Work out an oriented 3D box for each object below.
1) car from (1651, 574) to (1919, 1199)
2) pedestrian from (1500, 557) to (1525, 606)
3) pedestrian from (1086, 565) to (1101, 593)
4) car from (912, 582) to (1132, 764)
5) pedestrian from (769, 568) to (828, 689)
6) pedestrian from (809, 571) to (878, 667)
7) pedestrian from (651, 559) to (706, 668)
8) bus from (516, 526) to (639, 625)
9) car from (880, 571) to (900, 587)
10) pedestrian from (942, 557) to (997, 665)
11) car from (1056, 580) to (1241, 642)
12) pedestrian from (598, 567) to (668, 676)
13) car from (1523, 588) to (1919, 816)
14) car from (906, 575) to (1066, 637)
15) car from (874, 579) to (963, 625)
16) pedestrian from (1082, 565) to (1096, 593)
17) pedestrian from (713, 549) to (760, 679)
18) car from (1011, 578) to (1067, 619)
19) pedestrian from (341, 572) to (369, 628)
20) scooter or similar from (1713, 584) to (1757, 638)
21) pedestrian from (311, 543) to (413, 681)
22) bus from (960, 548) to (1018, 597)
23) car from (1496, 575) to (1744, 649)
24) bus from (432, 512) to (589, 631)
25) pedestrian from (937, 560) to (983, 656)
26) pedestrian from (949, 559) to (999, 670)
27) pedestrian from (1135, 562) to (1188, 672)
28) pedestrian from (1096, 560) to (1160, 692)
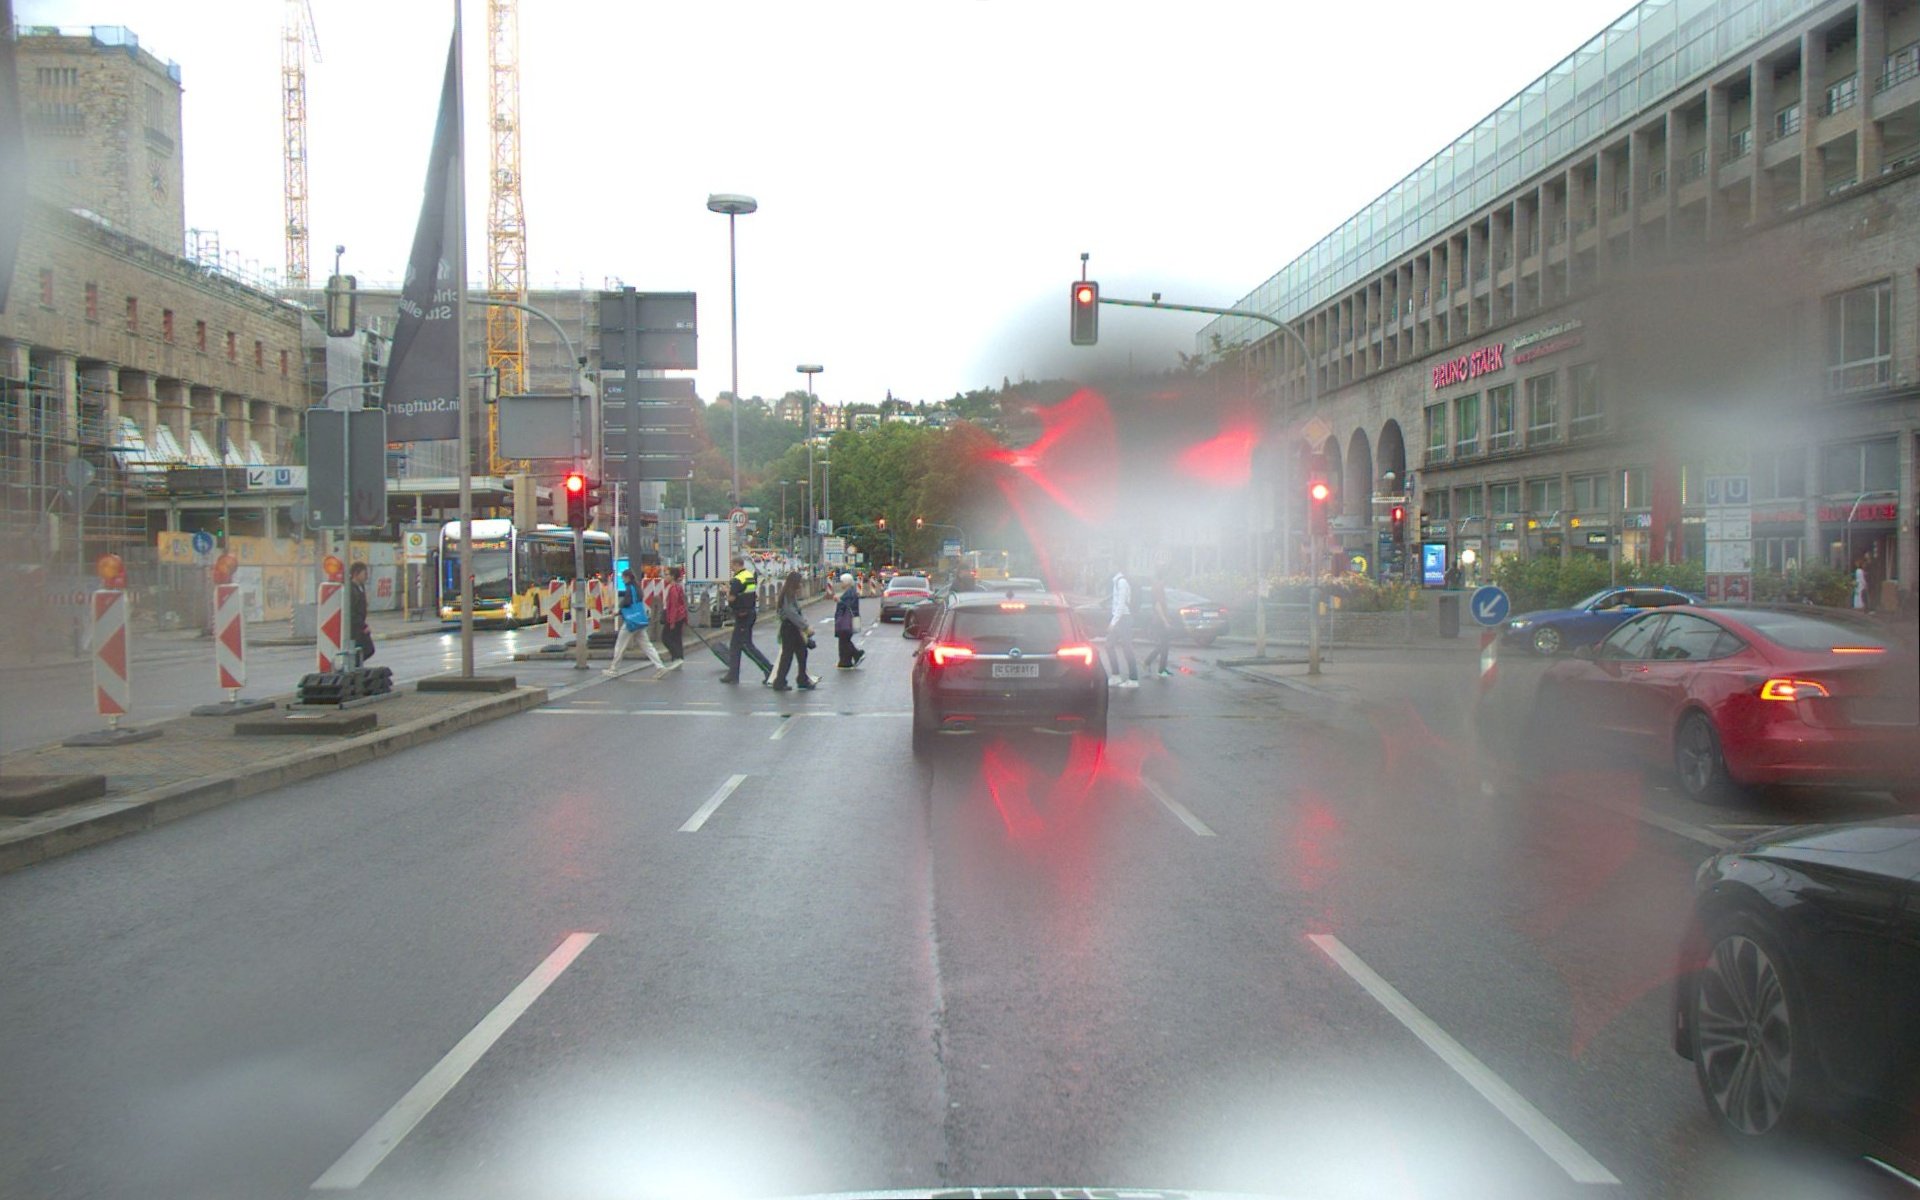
[{"bbox_3d":[3.057,0.722,2.824,1.757,1.528,4.628,1,0,-1],"label":"car"},{"bbox_3d":[23.569,-0.781,70.582,0.747,2.049,0.825,1,0,-1],"label":"pedestrian"},{"bbox_3d":[8.290,-1.297,102.843,0.748,1.720,0.824,1,0,-5],"label":"pedestrian"},{"bbox_3d":[0.488,0.610,15.975,1.836,1.512,3.999,1,0,-1],"label":"car"},{"bbox_3d":[-2.254,0.392,23.166,0.778,1.654,0.899,1,0,-4],"label":"pedestrian"},{"bbox_3d":[-1.964,0.310,27.949,0.771,1.588,0.872,1,0,35],"label":"pedestrian"},{"bbox_3d":[-4.614,0.217,27.173,0.783,1.747,0.619,-2,0,-4],"label":"pedestrian"},{"bbox_3d":[-15.229,-0.919,66.713,2.614,3.665,10.210,1,0,-1],"label":"bus"},{"bbox_3d":[-6.626,-1.989,157.135,1.723,1.422,3.563,1,0,-1],"label":"car"},{"bbox_3d":[0.143,0.172,25.525,0.783,1.636,0.619,1,0,-4],"label":"pedestrian"},{"bbox_3d":[4.545,0.240,40.275,4.328,1.422,1.746,1,0,45],"label":"car"},{"bbox_3d":[-4.882,0.310,24.767,0.897,1.591,0.899,1,0,-4],"label":"pedestrian"},{"bbox_3d":[6.269,0.682,13.338,1.836,1.512,4.525,1,0,-1],"label":"car"},{"bbox_3d":[0.565,0.132,40.210,1.737,1.422,4.487,1,0,-32],"label":"car"},{"bbox_3d":[-1.306,0.067,54.090,1.716,1.422,4.541,1,0,15],"label":"car"},{"bbox_3d":[8.094,-1.336,103.903,0.748,1.720,0.824,1,0,-5],"label":"pedestrian"},{"bbox_3d":[-3.267,0.203,24.224,0.566,1.868,0.820,1,0,-1],"label":"pedestrian"},{"bbox_3d":[2.829,-0.073,60.154,1.808,1.422,3.563,1,0,-1],"label":"car"},{"bbox_3d":[-20.820,-0.007,56.919,0.648,1.887,0.798,0,0,-1],"label":"pedestrian"},{"bbox_3d":[17.852,0.246,38.086,0.285,1.210,1.014,1,0,-19],"label":"scooter or similar"},{"bbox_3d":[-8.018,0.156,22.207,1.074,1.782,0.653,-2,0,-3],"label":"pedestrian"},{"bbox_3d":[2.111,-2.074,129.250,4.088,3.529,14.652,1,0,-1],"label":"bus"},{"bbox_3d":[13.618,0.240,34.391,4.534,1.422,1.760,1,0,12],"label":"car"},{"bbox_3d":[-15.115,-0.891,56.529,2.614,3.665,10.238,1,0,-1],"label":"bus"},{"bbox_3d":[0.000,0.125,26.050,0.665,1.500,0.366,1,0,-6],"label":"pedestrian"},{"bbox_3d":[0.221,0.229,26.620,0.740,1.747,0.466,1,0,-4],"label":"pedestrian"},{"bbox_3d":[3.340,0.276,27.418,0.560,1.783,0.676,1,0,42],"label":"pedestrian"},{"bbox_3d":[2.486,0.378,24.534,0.784,1.923,0.619,1,0,-9],"label":"pedestrian"}]
